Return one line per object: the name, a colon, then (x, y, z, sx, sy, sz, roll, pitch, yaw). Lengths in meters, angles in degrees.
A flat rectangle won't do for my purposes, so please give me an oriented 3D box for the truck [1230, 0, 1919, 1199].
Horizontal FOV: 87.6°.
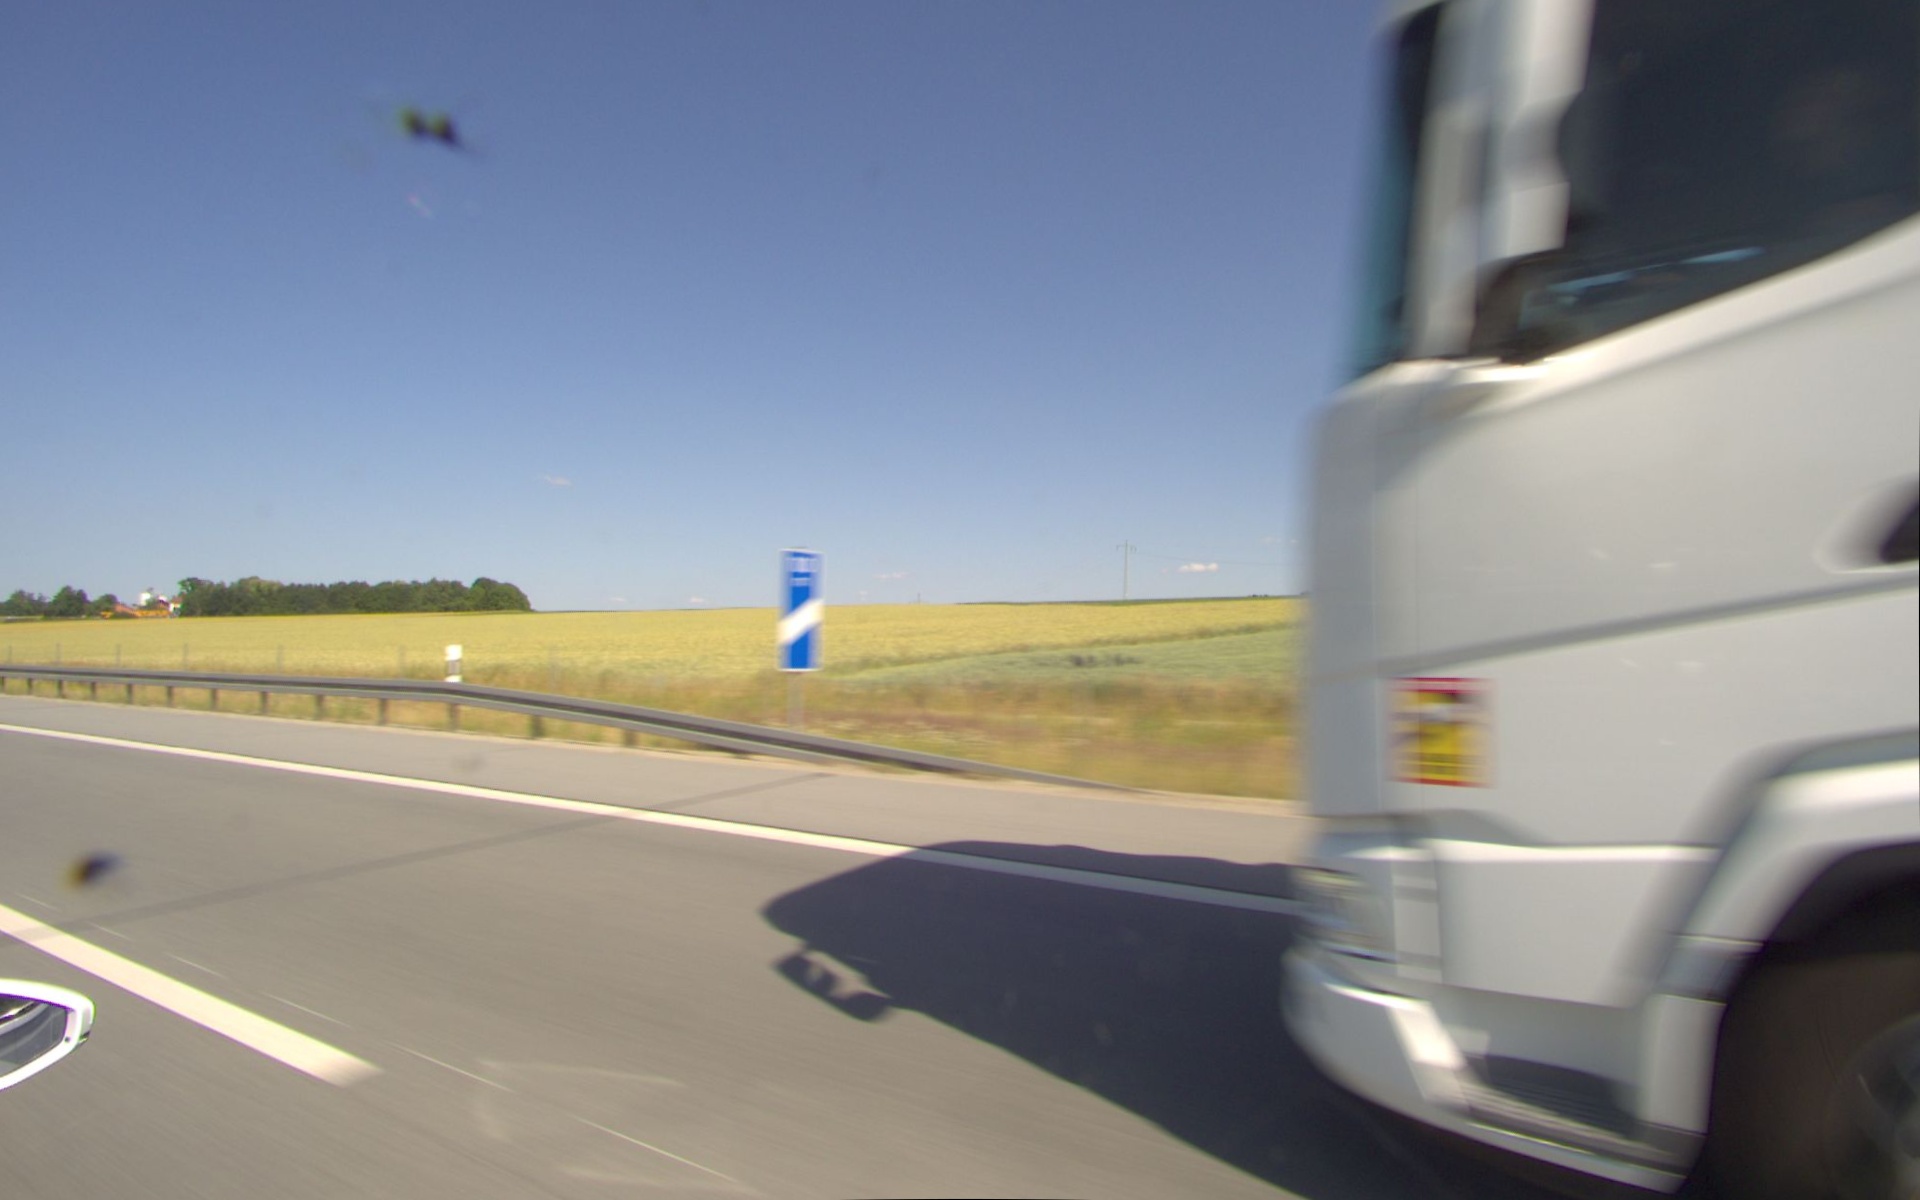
truck: (4.029, -0.380, 2.083, 6.101, 4.065, 3.078, -1, -2, 32)
